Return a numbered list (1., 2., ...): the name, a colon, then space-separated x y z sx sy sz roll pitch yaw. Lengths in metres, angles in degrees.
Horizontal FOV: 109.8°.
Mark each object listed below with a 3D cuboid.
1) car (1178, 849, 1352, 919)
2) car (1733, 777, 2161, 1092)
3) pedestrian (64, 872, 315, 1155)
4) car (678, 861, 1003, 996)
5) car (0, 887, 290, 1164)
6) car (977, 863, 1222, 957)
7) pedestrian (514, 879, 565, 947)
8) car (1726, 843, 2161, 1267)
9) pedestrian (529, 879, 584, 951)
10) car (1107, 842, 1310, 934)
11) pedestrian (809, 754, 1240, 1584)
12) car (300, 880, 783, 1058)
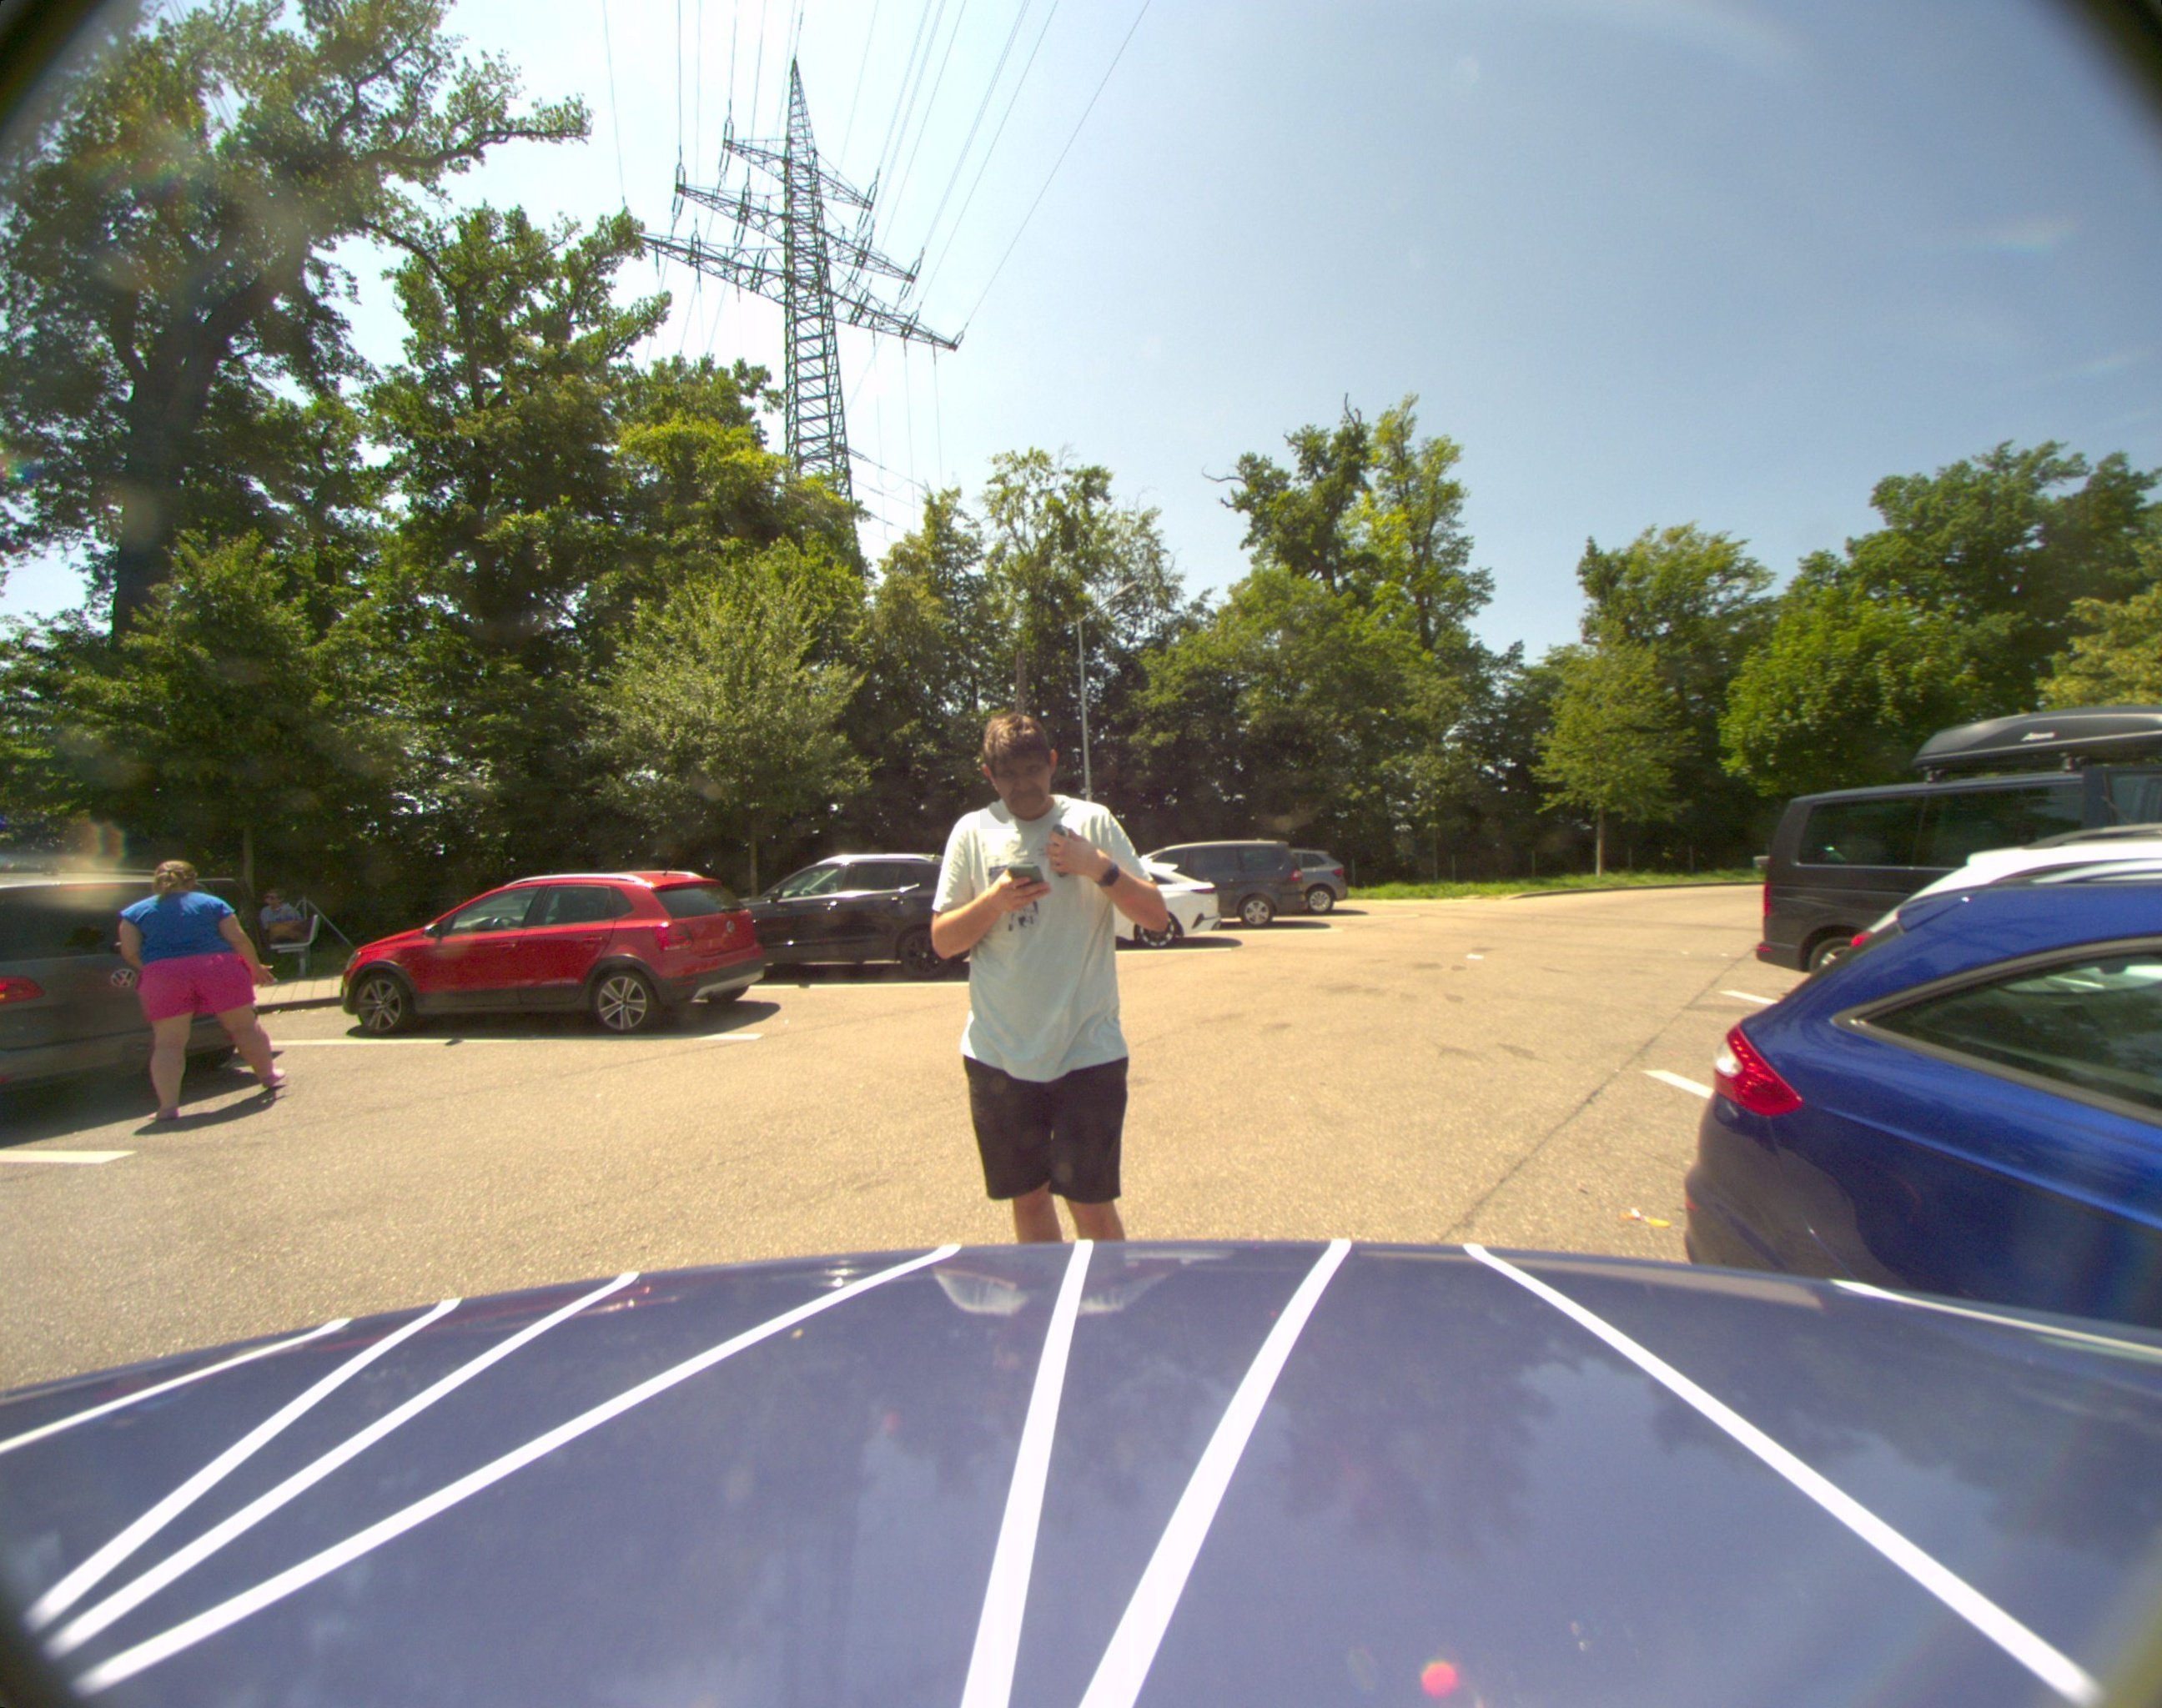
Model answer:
1. car: 4.329 0.689 18.161 3.818 1.530 1.722 -1 1 12
2. car: 7.313 0.437 4.920 1.961 1.858 4.642 -3 -1 -3
3. pedestrian: -6.018 0.985 5.162 0.732 1.672 0.921 -2 1 30
4. car: -3.076 0.934 10.266 3.787 1.564 1.721 -1 1 2
5. car: -8.300 1.102 5.445 3.985 1.572 1.749 -1 1 12
6. car: 0.354 0.897 12.732 3.819 1.377 1.722 -1 1 6
7. pedestrian: -10.918 1.159 15.318 0.782 1.287 0.670 -1 2 45
8. car: 4.865 0.724 2.290 1.741 1.524 4.642 -3 -1 -2
9. pedestrian: -10.013 1.133 14.508 0.782 1.287 0.670 -1 2 45
10. car: 2.577 0.665 15.458 3.818 1.714 1.722 -1 1 12
11. pedestrian: -0.124 0.707 2.009 0.890 1.831 0.622 -2 1 -1
12. car: -5.248 1.062 7.655 3.785 1.457 1.722 -1 1 9
